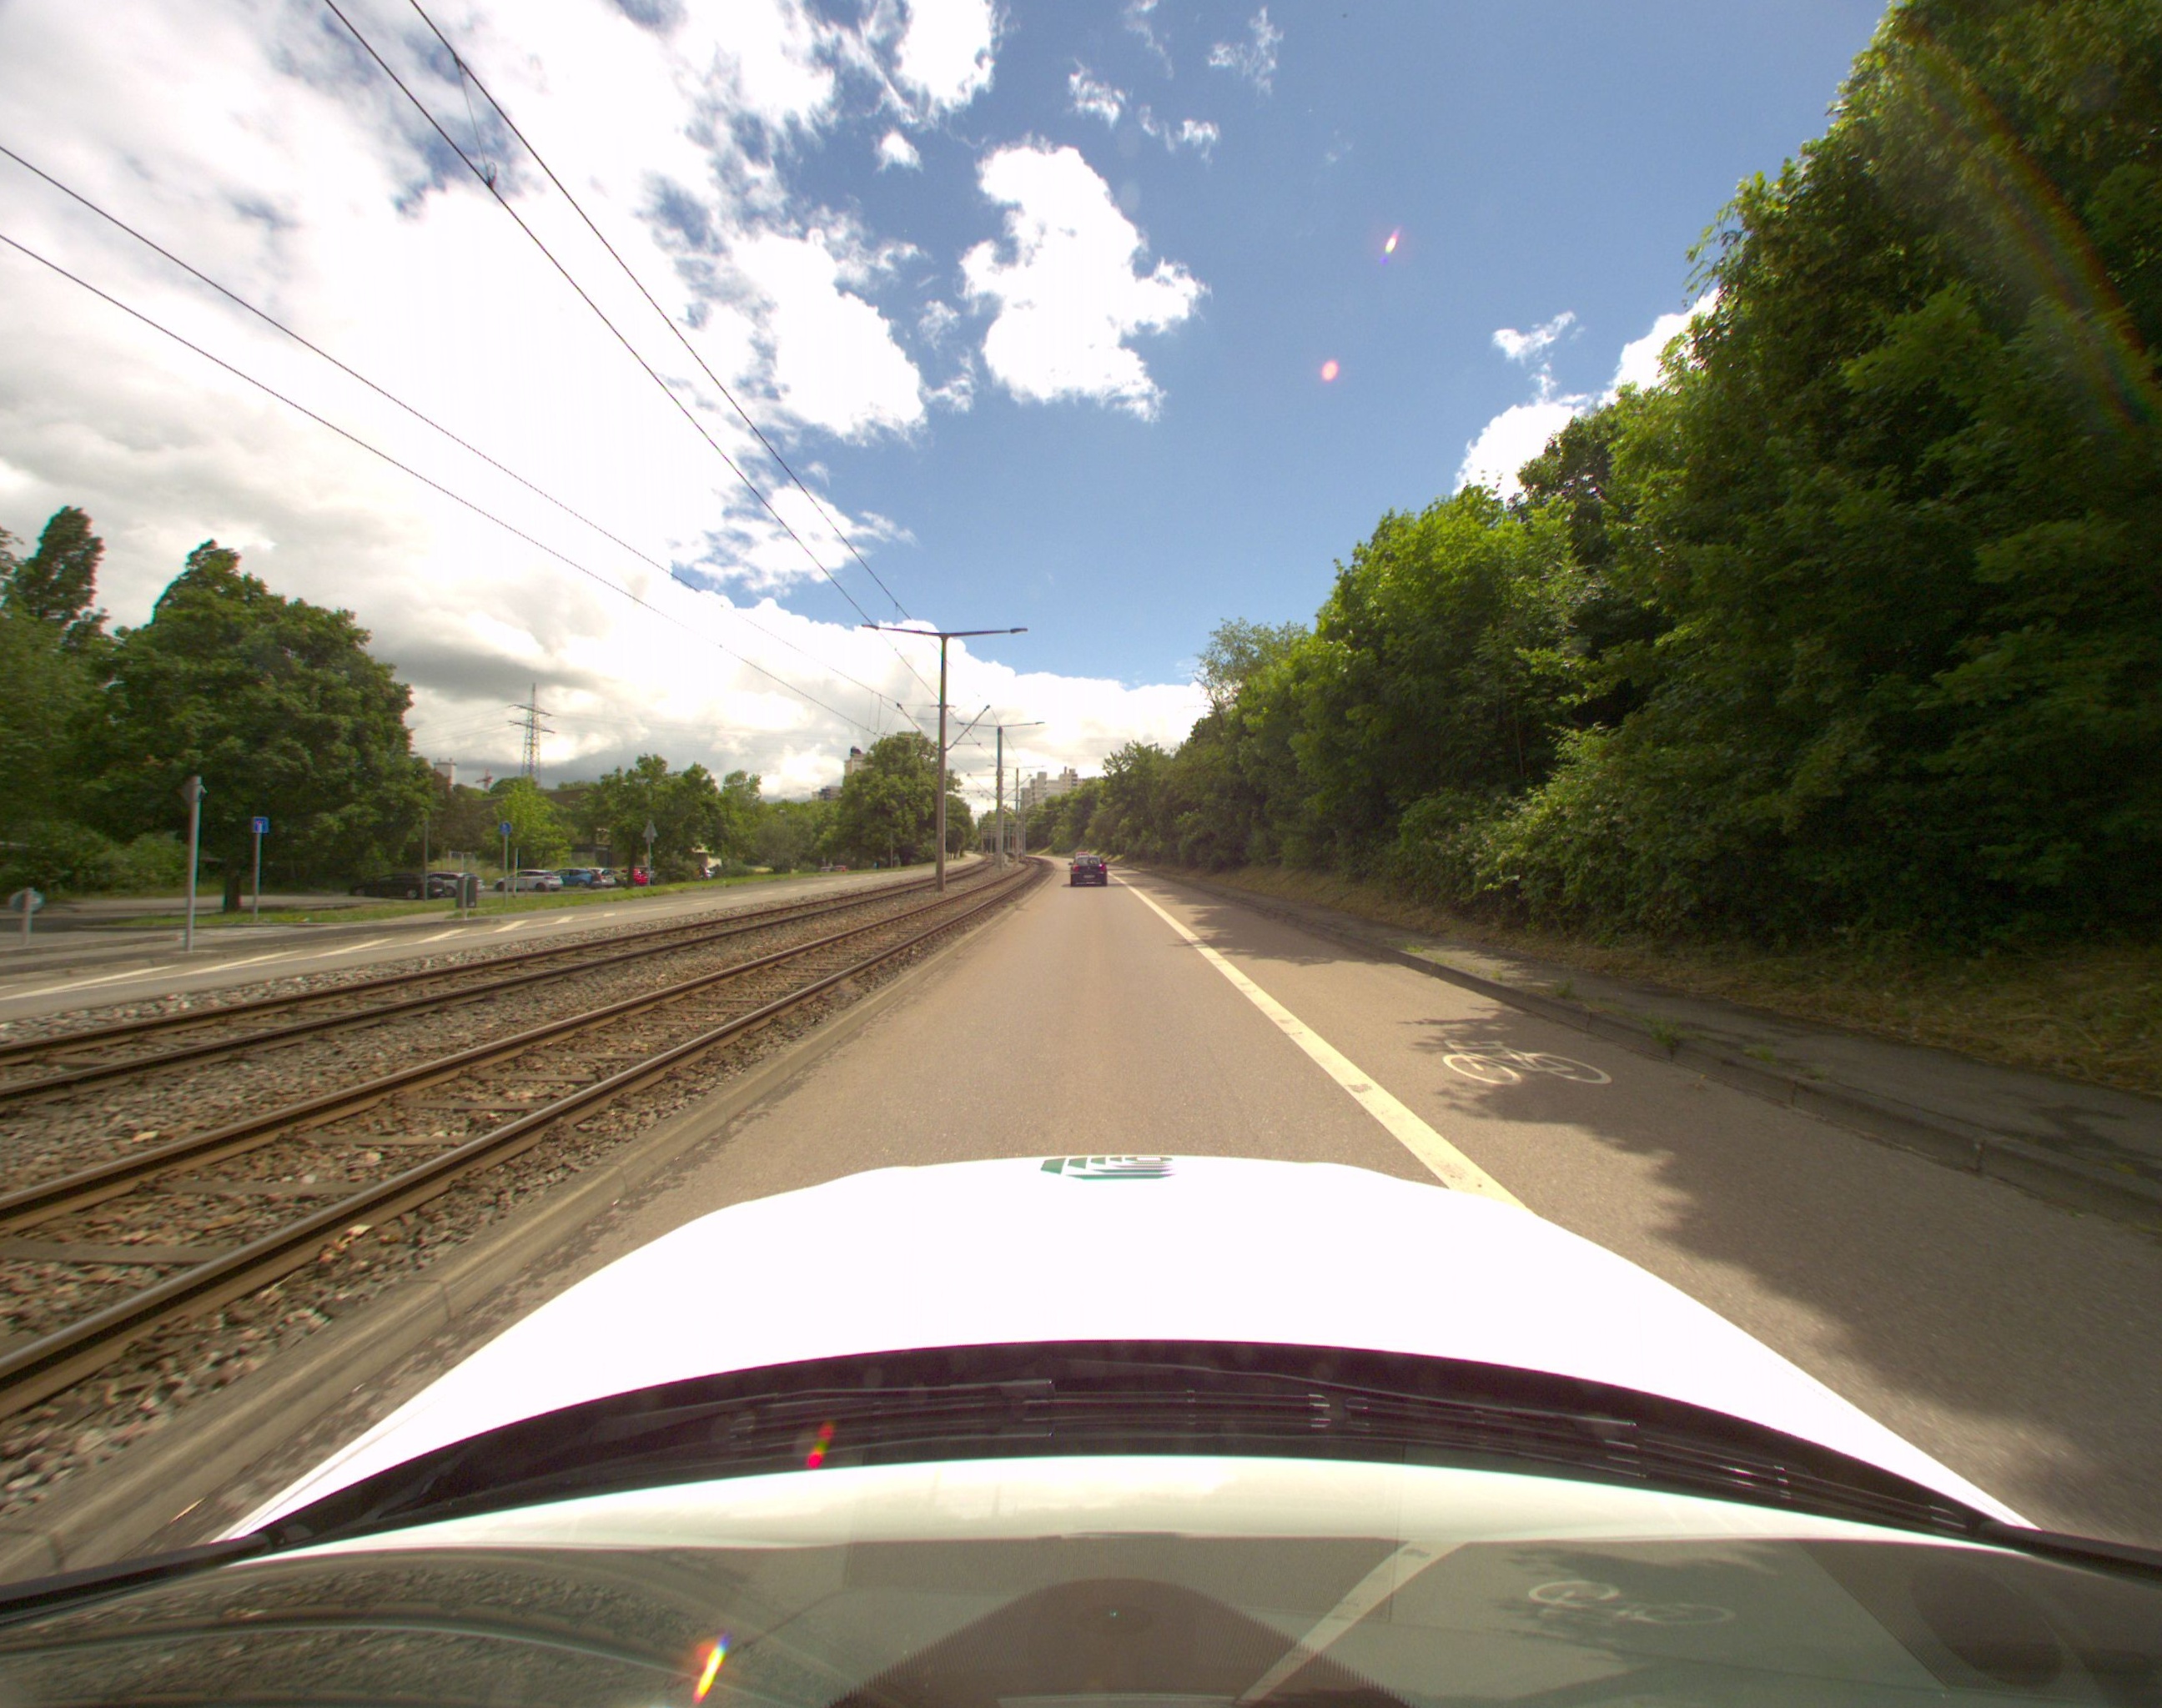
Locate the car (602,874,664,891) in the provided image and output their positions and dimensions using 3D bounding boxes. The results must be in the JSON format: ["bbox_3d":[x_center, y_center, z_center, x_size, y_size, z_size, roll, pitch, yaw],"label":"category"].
[{"bbox_3d":[-37.839,2.363,68.817,4.064,1.252,1.998,1,1,4],"label":"car"}]

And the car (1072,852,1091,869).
[{"bbox_3d":[0.052,0.632,75.141,1.619,1.444,3.421,1,-2,1],"label":"car"}]

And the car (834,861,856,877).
[{"bbox_3d":[-28.762,1.845,99.411,1.812,1.772,3.994,-1,0,-4],"label":"car"}]

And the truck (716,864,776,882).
[{"bbox_3d":[-57.200,3.221,139.026,9.148,2.695,2.590,-2,0,-30],"label":"truck"}]

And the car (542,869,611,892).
[{"bbox_3d":[-37.871,1.970,61.147,3.937,1.580,1.996,1,1,4],"label":"car"}]

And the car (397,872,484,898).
[{"bbox_3d":[-36.974,1.765,47.066,3.850,1.391,1.576,1,-2,5],"label":"car"}]

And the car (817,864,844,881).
[{"bbox_3d":[-28.282,2.060,92.100,1.810,1.772,3.999,-1,0,-1],"label":"car"}]

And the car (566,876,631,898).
[{"bbox_3d":[-37.840,2.571,63.920,3.937,1.580,1.998,1,1,4],"label":"car"}]

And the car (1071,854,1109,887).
[{"bbox_3d":[0.456,0.768,38.689,1.702,1.460,3.961,2,-1,1],"label":"car"}]

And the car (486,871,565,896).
[{"bbox_3d":[-37.344,1.966,54.817,3.907,1.580,1.840,1,1,-3],"label":"car"}]

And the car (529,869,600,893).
[{"bbox_3d":[-37.443,1.949,59.111,3.937,1.580,1.871,1,1,4],"label":"car"}]

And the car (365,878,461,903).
[{"bbox_3d":[-36.980,2.022,45.122,3.945,1.276,1.780,1,-2,5],"label":"car"}]

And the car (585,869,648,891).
[{"bbox_3d":[-37.795,2.084,66.279,3.937,1.580,1.998,1,1,4],"label":"car"}]
